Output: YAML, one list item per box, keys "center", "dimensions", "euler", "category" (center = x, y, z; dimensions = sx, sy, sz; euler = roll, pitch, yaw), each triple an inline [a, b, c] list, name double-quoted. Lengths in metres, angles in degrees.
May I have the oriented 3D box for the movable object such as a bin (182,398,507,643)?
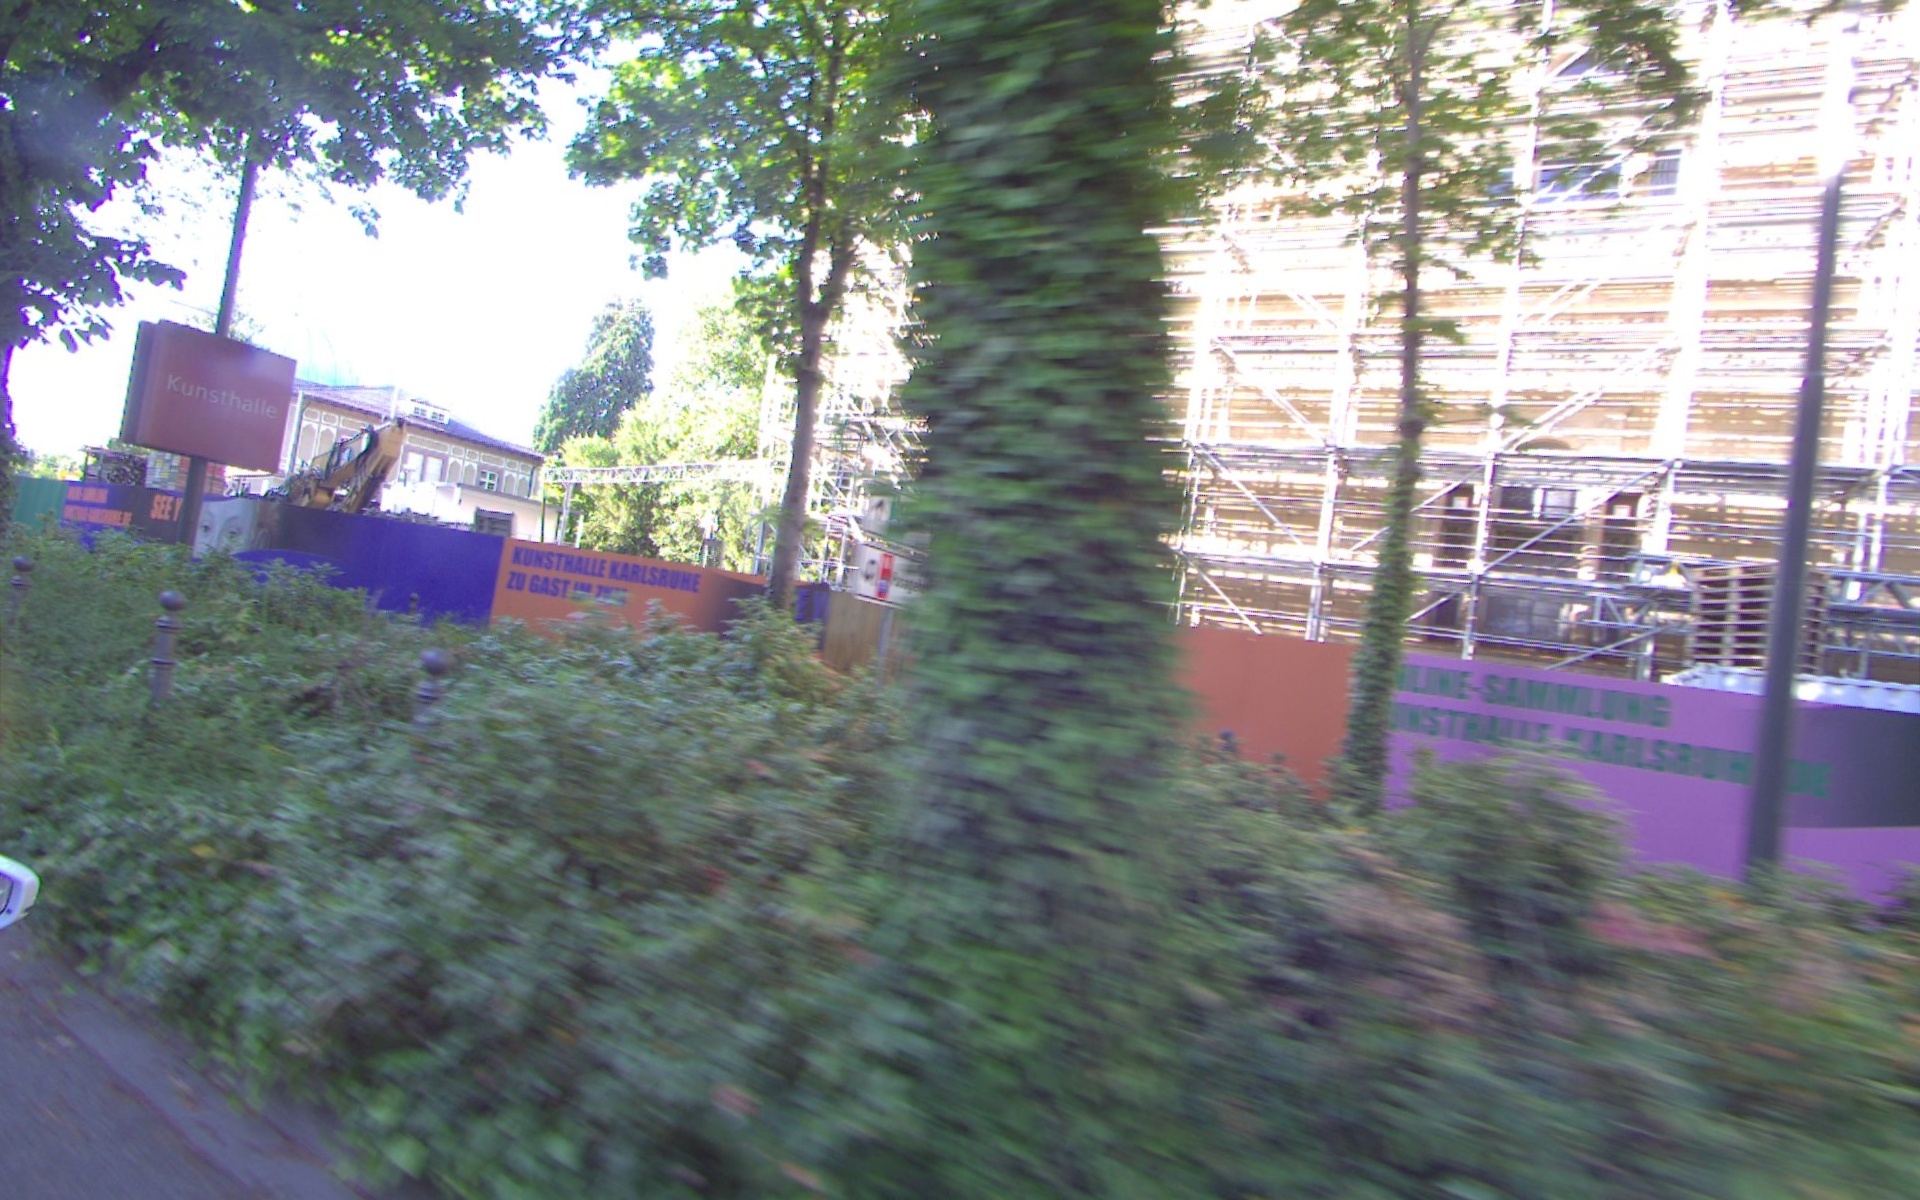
- center: [-14.517, -1.864, 23.465]
  dimensions: [7.783, 4.590, 3.310]
  euler: [7, -2, 37]
  category: "movable object such as a bin"
